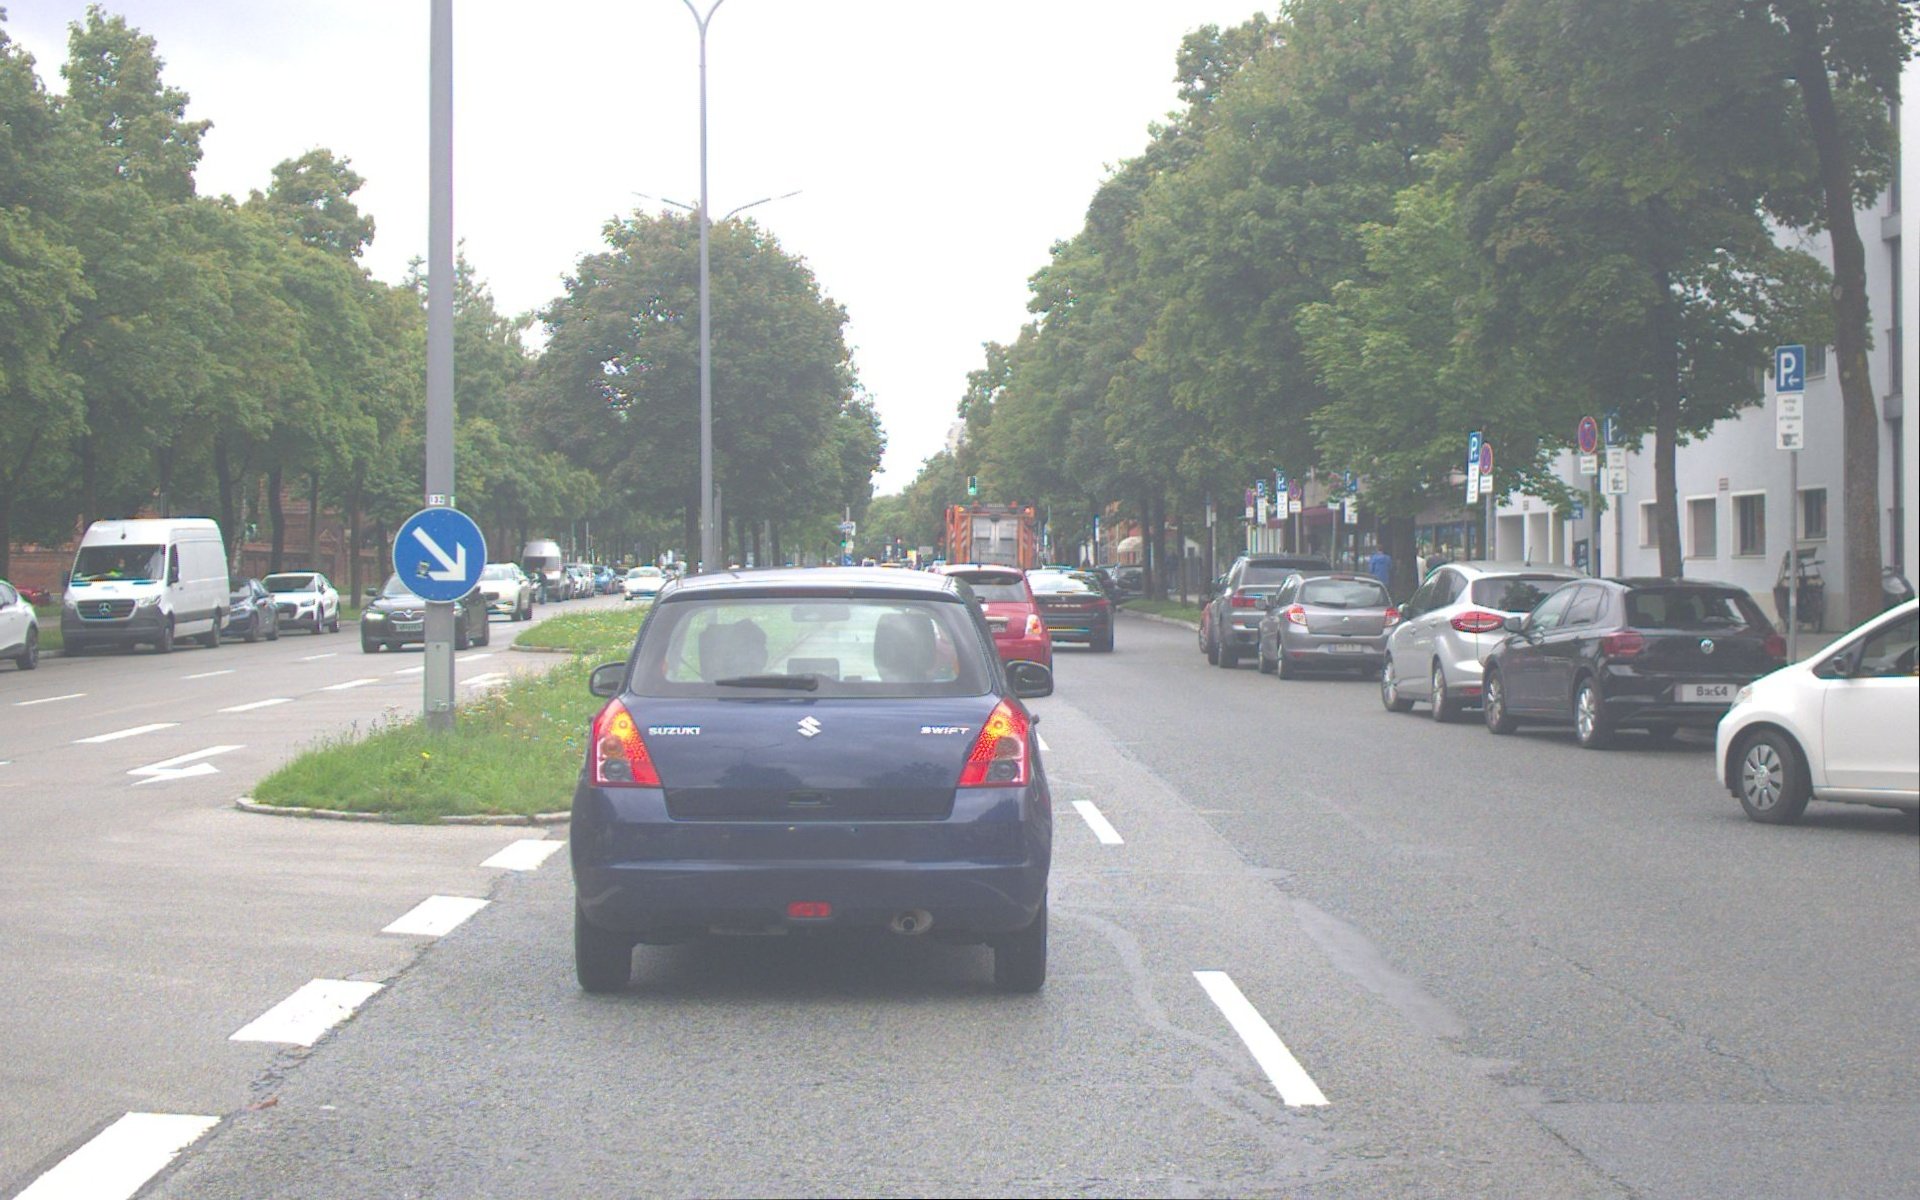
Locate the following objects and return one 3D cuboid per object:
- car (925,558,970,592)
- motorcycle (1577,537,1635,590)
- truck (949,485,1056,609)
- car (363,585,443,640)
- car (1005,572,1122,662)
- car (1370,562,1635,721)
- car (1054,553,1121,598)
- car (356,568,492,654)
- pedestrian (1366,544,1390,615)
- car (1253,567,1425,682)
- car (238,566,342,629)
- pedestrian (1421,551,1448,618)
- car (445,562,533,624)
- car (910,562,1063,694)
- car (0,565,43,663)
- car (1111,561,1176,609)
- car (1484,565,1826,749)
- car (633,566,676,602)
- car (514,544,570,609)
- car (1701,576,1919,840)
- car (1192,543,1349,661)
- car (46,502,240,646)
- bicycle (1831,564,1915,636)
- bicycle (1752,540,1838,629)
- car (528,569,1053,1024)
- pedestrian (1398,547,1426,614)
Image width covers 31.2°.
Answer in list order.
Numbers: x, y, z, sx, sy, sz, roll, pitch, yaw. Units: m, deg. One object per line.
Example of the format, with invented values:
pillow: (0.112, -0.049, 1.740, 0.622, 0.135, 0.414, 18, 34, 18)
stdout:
car: (-0.574, -1.137, 153.759, 1.829, 1.517, 3.771, 0, 1, -3)
motorcycle: (13.537, -0.767, 72.112, 0.761, 1.082, 2.199, -1, 1, -1)
truck: (1.201, -1.613, 105.208, 3.041, 3.545, 13.675, 0, 1, 0)
car: (-17.081, 0.370, 105.600, 1.886, 1.532, 4.315, -3, 1, -3)
car: (1.832, 0.274, 61.990, 1.821, 1.472, 4.691, 2, 1, -1)
car: (5.472, 0.375, 35.199, 1.829, 1.517, 4.524, 0, 1, -2)
car: (4.184, -0.817, 113.224, 1.993, 1.447, 4.000, 0, 1, -1)
car: (-9.606, 0.165, 61.873, 1.815, 1.443, 4.783, -1, 1, -2)
pedestrian: (10.218, -0.514, 84.048, 0.499, 1.727, 0.733, 0, 1, -1)
car: (5.217, 0.306, 47.743, 1.829, 1.517, 3.771, 0, 1, -2)
car: (-16.158, -0.055, 83.106, 1.857, 1.485, 4.142, 0, 0, -2)
pedestrian: (11.650, -0.381, 84.392, 0.541, 1.635, 0.724, 0, 1, -1)
car: (-13.209, -0.215, 96.547, 1.851, 1.595, 4.403, -2, 1, -1)
car: (0.272, 0.298, 41.558, 1.718, 1.495, 4.301, 0, 1, -1)
car: (-15.742, 0.247, 53.649, 1.821, 1.522, 4.299, -2, 0, -2)
car: (6.404, -0.528, 120.511, 1.993, 1.637, 4.333, 0, 1, -1)
car: (5.920, 0.442, 29.740, 1.829, 1.468, 3.889, 0, 1, -6)
car: (-13.937, -0.739, 157.171, 1.761, 1.532, 4.315, -3, 1, -3)
car: (-19.426, -1.091, 159.967, 2.185, 2.943, 6.192, 1, 1, -3)
car: (6.208, 0.617, 19.966, 1.687, 1.485, 3.434, 0, 1, -38)
car: (4.717, 0.000, 52.795, 1.829, 1.740, 4.509, 0, 1, -2)
car: (-15.984, -0.558, 67.662, 2.139, 2.634, 7.106, -2, 1, -1)
bicycle: (13.990, -0.016, 52.727, 0.621, 1.043, 2.195, -4, 1, -1)
bicycle: (13.816, -0.269, 56.957, 0.702, 1.402, 2.593, -2, 1, -1)
car: (-0.574, 0.638, 13.480, 1.753, 1.499, 4.000, 0, 1, 0)
pedestrian: (11.039, -0.474, 84.039, 0.549, 1.624, 0.641, -2, 1, -1)
